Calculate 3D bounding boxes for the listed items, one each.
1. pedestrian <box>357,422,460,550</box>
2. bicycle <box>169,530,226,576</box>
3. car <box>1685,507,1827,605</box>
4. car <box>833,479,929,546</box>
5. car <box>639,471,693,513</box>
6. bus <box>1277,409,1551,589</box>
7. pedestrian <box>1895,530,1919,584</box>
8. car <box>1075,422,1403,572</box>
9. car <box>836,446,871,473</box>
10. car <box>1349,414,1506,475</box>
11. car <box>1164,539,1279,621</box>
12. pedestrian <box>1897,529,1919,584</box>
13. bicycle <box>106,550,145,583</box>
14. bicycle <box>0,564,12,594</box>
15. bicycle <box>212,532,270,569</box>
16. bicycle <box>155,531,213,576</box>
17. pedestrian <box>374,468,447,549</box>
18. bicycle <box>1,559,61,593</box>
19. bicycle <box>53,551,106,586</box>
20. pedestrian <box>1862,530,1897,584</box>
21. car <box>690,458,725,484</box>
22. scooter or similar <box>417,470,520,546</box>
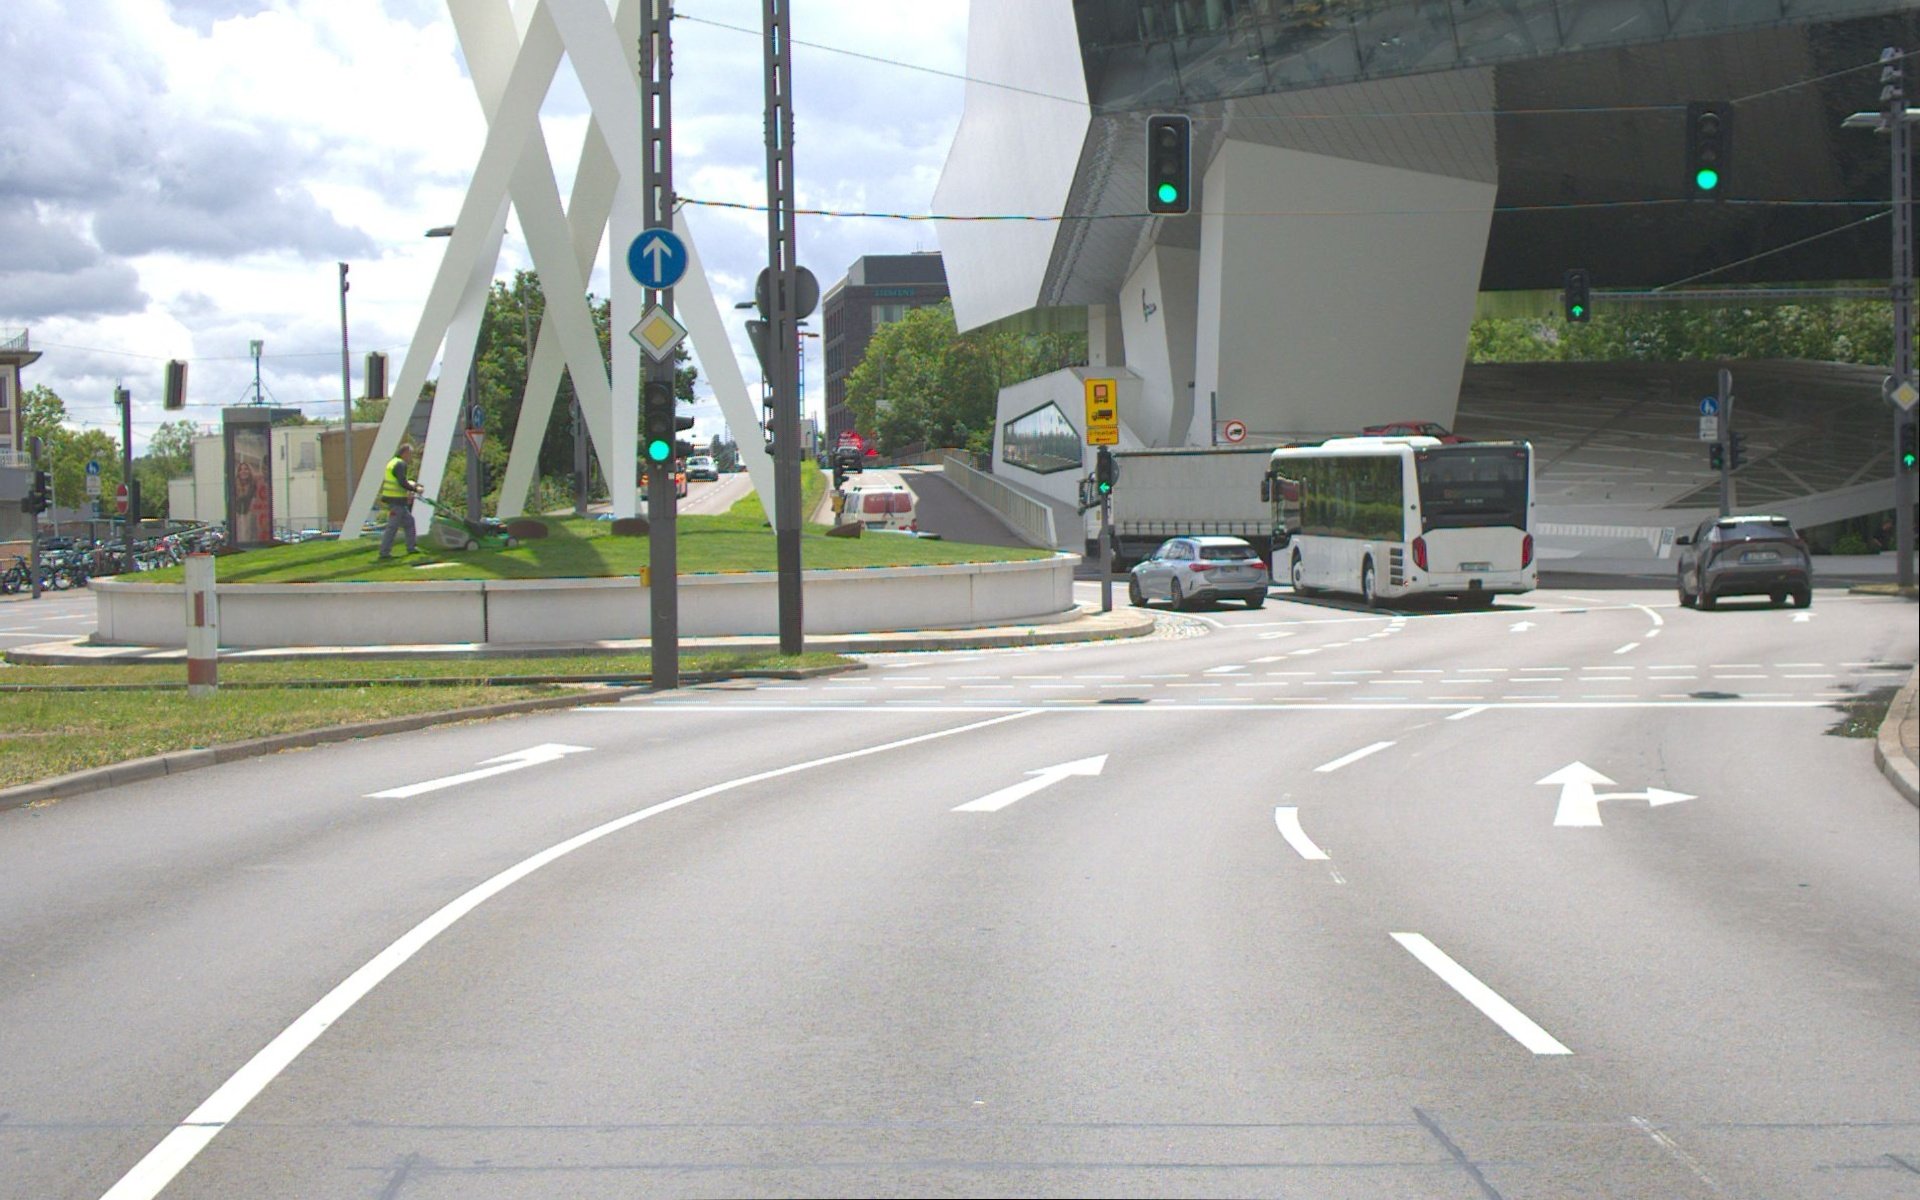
[{"bbox_3d":[-8.361,-1.735,52.086,1.281,1.810,0.987,-5,5,-18],"label":"pedestrian"},{"bbox_3d":[-23.004,-1.413,103.713,1.605,1.378,0.493,0,0,-2],"label":"bicycle"},{"bbox_3d":[13.756,-0.776,59.590,1.994,1.631,3.999,0,1,7],"label":"car"},{"bbox_3d":[-2.377,-2.590,102.964,1.993,1.897,4.001,0,0,-15],"label":"car"},{"bbox_3d":[-14.563,-5.386,170.361,1.994,1.976,4.837,-2,2,3],"label":"car"},{"bbox_3d":[9.061,-1.910,70.377,3.071,3.351,12.225,0,0,-4],"label":"bus"},{"bbox_3d":[27.625,-1.243,99.452,0.922,1.567,0.829,0,0,30],"label":"pedestrian"},{"bbox_3d":[6.787,-2.447,85.453,3.335,3.492,9.342,0,0,-31],"label":"car"},{"bbox_3d":[-6.413,-8.485,207.889,1.993,1.630,4.656,0,2,0],"label":"car"},{"bbox_3d":[14.557,-4.874,107.190,4.510,1.390,1.995,10,12,44],"label":"car"},{"bbox_3d":[5.329,-0.400,70.431,1.993,1.631,4.000,0,0,-1],"label":"car"},{"bbox_3d":[27.333,-1.241,98.291,0.921,1.567,0.829,0,0,25],"label":"pedestrian"},{"bbox_3d":[-24.098,-0.961,99.290,0.491,0.863,1.611,-1,3,9],"label":"bicycle"},{"bbox_3d":[-27.876,-0.577,97.979,0.492,0.863,1.607,0,3,40],"label":"bicycle"},{"bbox_3d":[-23.216,-1.610,111.067,1.737,1.178,0.670,0,2,-3],"label":"bicycle"},{"bbox_3d":[-23.046,-1.372,102.084,1.605,1.312,0.493,0,0,-2],"label":"bicycle"},{"bbox_3d":[-10.245,-1.698,64.134,0.854,1.402,0.964,-7,-2,20],"label":"pedestrian"},{"bbox_3d":[-25.746,-0.662,95.309,0.492,0.863,1.607,0,3,39],"label":"bicycle"},{"bbox_3d":[-24.799,-0.898,96.881,0.492,0.863,1.609,0,5,26],"label":"bicycle"},{"bbox_3d":[26.718,-1.250,99.895,0.829,1.567,0.922,0,0,26],"label":"pedestrian"},{"bbox_3d":[-14.628,-7.509,199.260,1.755,1.393,4.675,0,3,-1],"label":"car"},{"bbox_3d":[-7.483,-1.404,52.324,1.400,1.022,0.550,-5,7,-20],"label":"scooter or similar"}]
